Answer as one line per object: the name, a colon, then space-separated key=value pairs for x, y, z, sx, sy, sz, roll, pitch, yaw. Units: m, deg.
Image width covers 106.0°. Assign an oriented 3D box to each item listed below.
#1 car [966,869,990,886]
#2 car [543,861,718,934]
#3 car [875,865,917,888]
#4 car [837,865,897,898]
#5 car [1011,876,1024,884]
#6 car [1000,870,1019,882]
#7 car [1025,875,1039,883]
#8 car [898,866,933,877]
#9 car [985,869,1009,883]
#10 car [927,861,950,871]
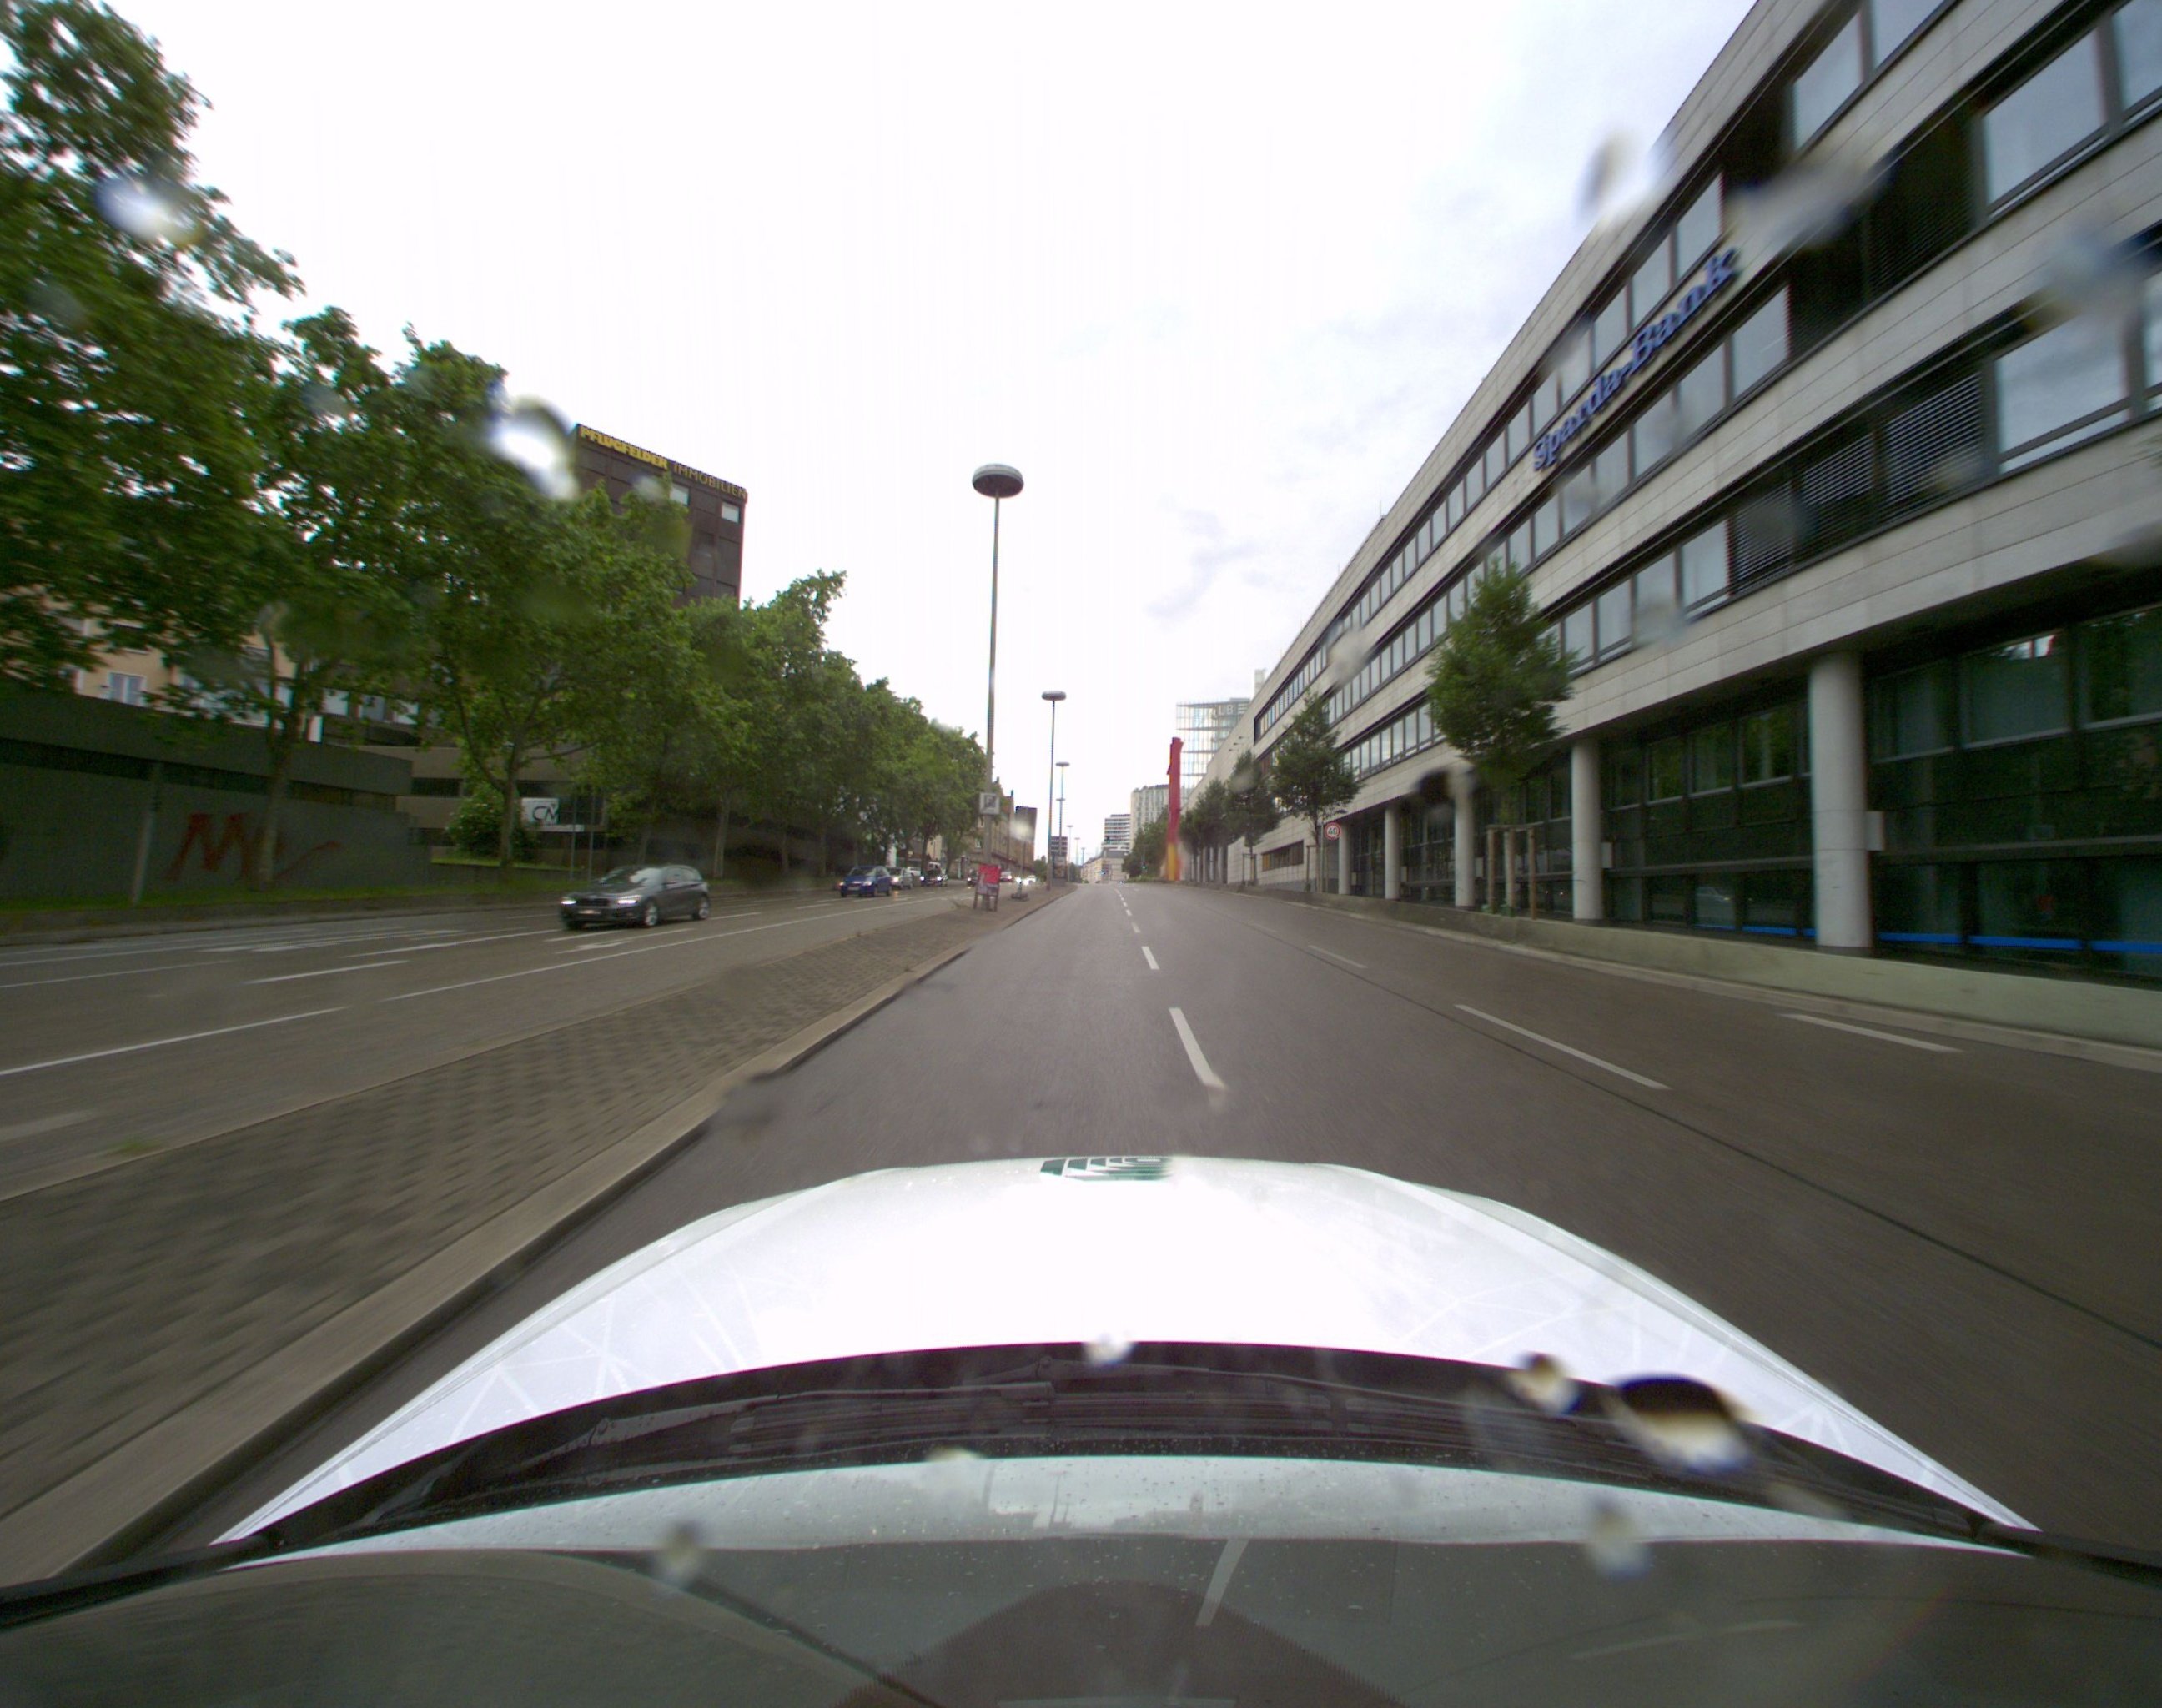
car: x=-9.061 y=2.030 z=71.684 sx=1.682 sy=1.410 sz=3.997 roll=0 pitch=-1 yaw=-2
car: x=-10.286 y=0.919 z=19.019 sx=1.803 sy=1.448 sz=4.336 roll=0 pitch=0 yaw=-3
car: x=-12.714 y=1.524 z=56.118 sx=1.590 sy=1.491 sz=3.762 roll=1 pitch=0 yaw=6
car: x=-10.217 y=1.269 z=39.133 sx=1.602 sy=1.473 sz=4.070 roll=0 pitch=-1 yaw=3
car: x=-11.412 y=4.651 z=147.005 sx=1.811 sy=1.385 sz=4.003 roll=-1 pitch=-2 yaw=4
car: x=-9.416 y=2.909 z=106.984 sx=1.811 sy=1.403 sz=4.003 roll=-1 pitch=-2 yaw=4
car: x=-8.613 y=4.401 z=143.621 sx=1.811 sy=1.469 sz=4.003 roll=-1 pitch=-2 yaw=4
car: x=-22.992 y=2.406 z=113.294 sx=1.802 sy=1.511 sz=4.606 roll=-3 pitch=-3 yaw=40
car: x=-8.886 y=2.400 z=86.411 sx=1.811 sy=1.403 sz=4.003 roll=-1 pitch=-2 yaw=4
car: x=-24.506 y=2.051 z=140.426 sx=3.618 sy=1.701 sz=1.824 roll=-1 pitch=-3 yaw=-2
